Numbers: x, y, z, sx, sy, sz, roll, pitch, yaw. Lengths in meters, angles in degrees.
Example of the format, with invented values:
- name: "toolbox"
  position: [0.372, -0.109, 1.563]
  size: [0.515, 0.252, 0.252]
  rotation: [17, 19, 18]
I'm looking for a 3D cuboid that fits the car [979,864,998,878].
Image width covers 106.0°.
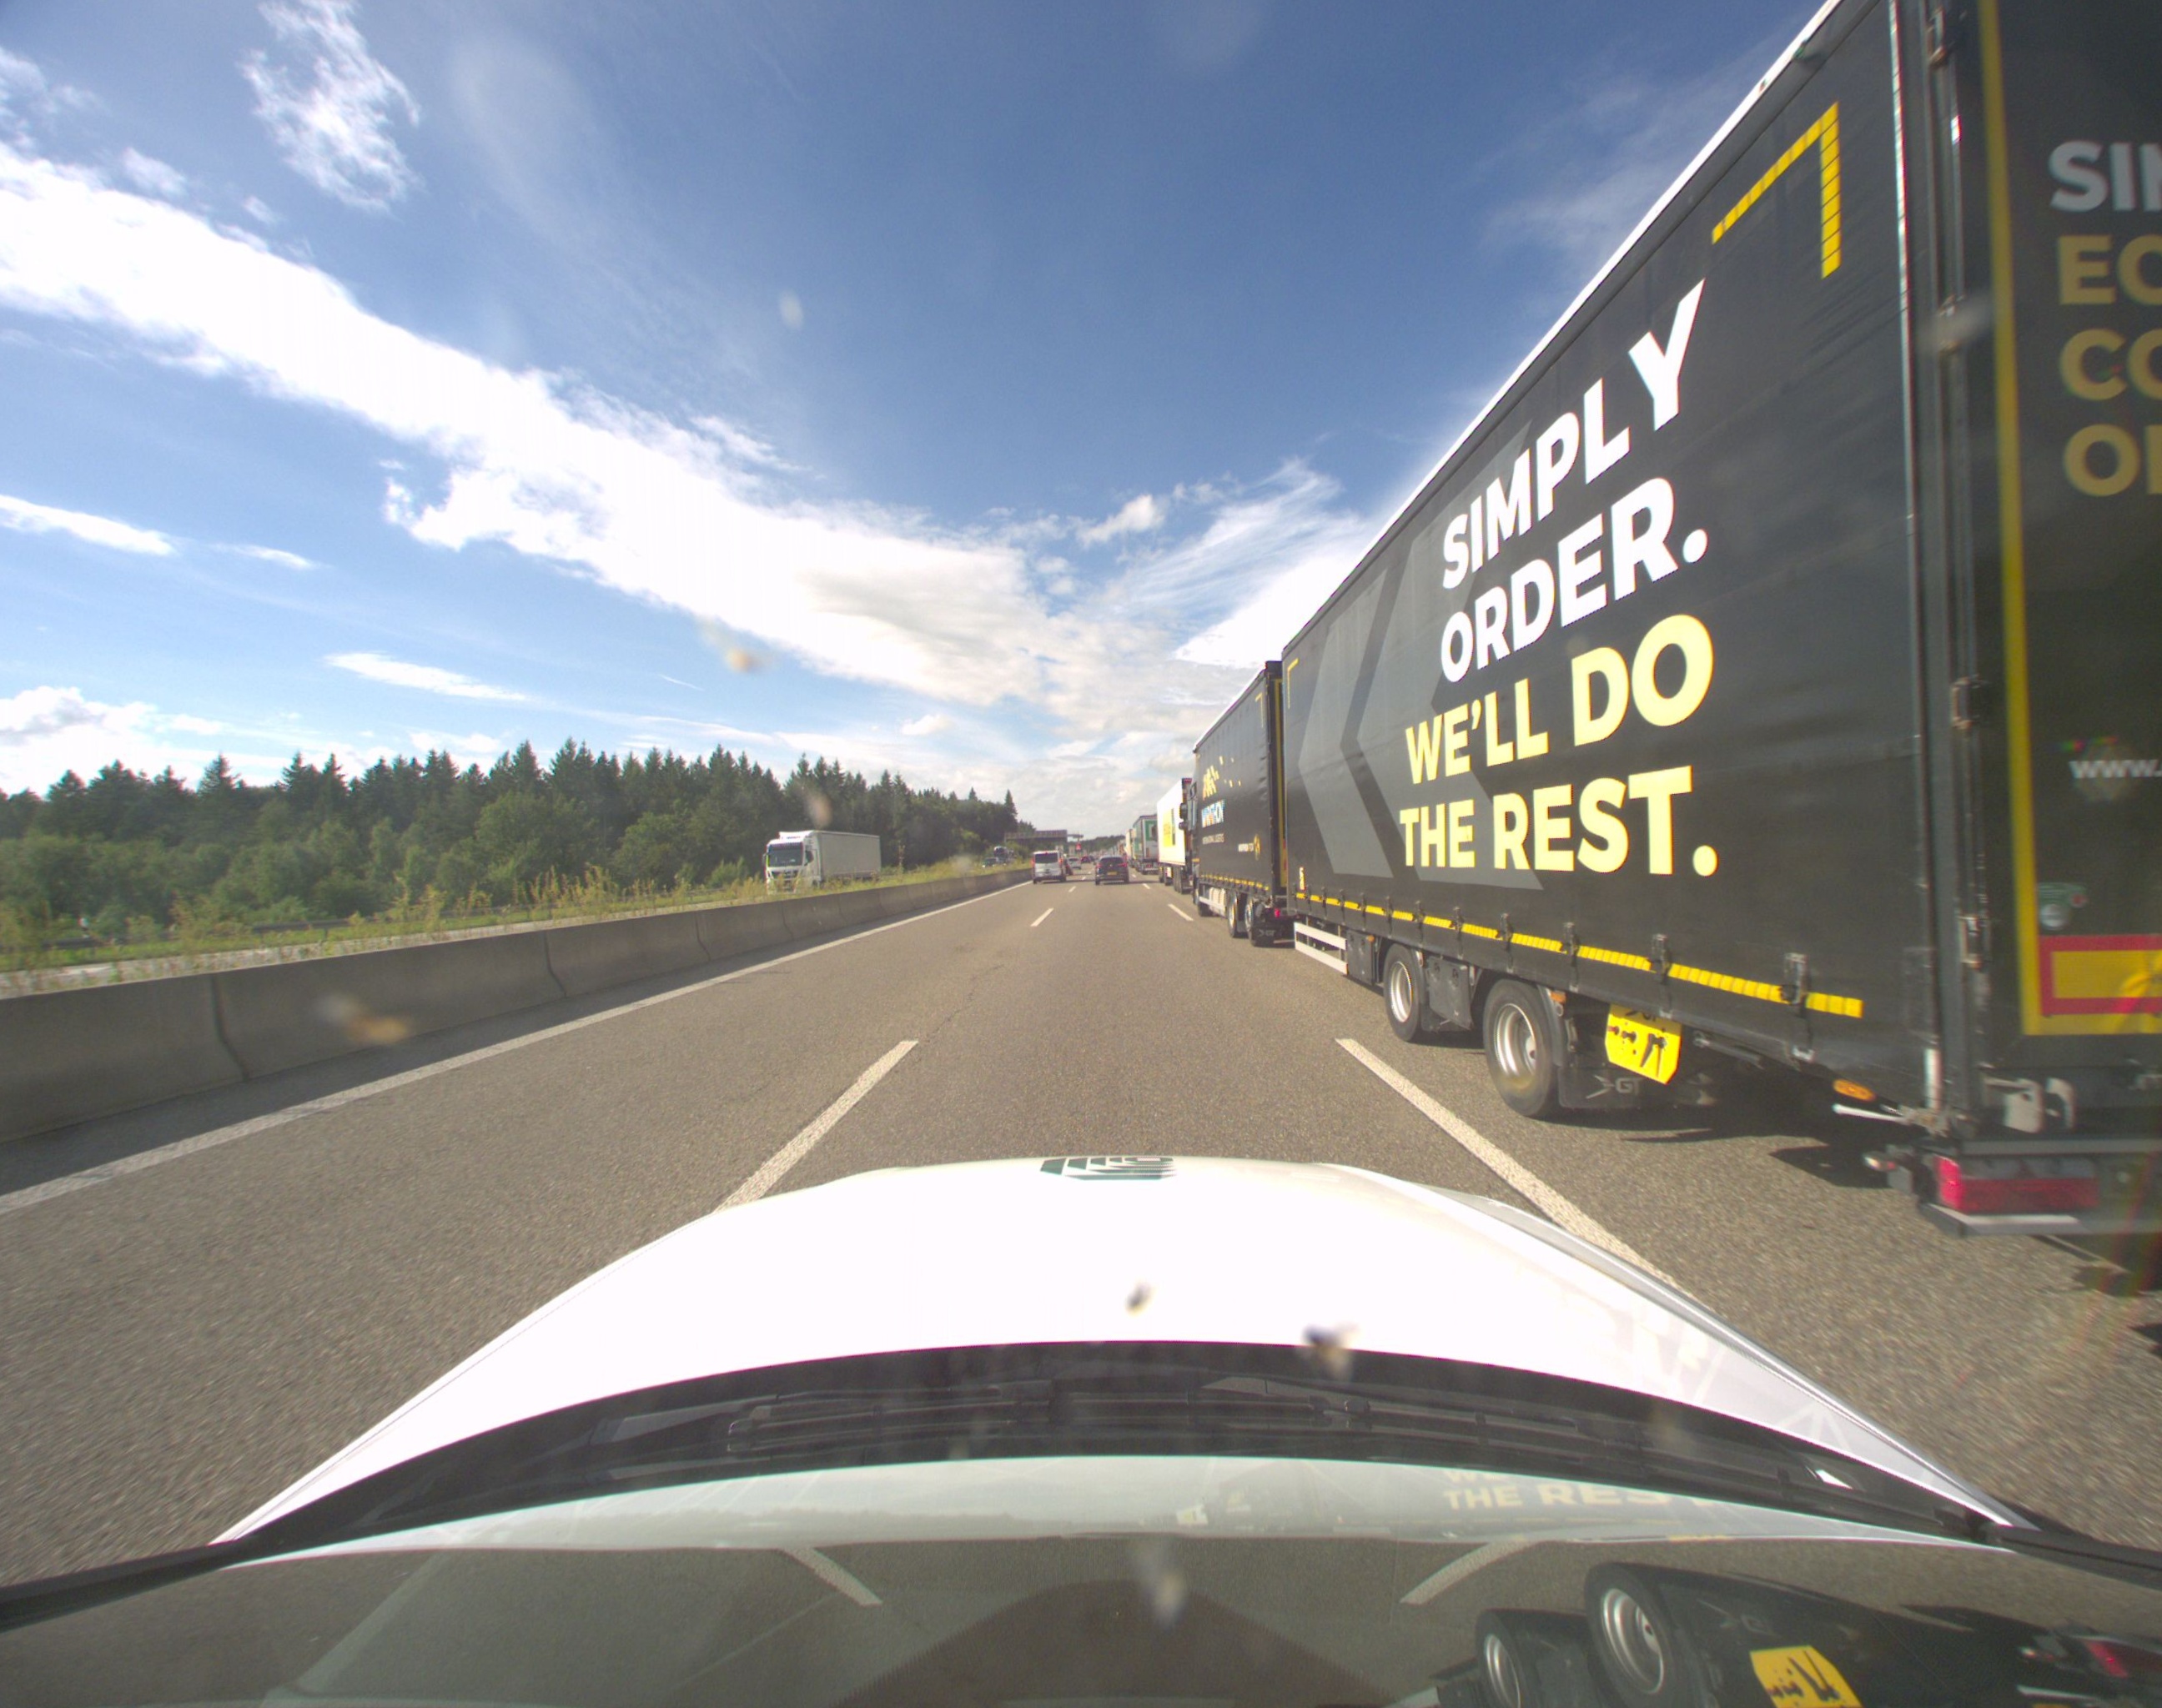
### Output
- name: "car"
  position: [-12.102, 2.210, 107.005]
  size: [1.871, 1.876, 4.492]
  rotation: [0, 0, 2]

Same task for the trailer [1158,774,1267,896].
- name: "trailer"
  position: [4.940, -0.574, 33.294]
  size: [2.780, 3.939, 13.077]
  rotation: [-2, -1, 3]

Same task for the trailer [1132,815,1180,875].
- name: "trailer"
  position: [5.372, -0.557, 60.655]
  size: [2.651, 3.869, 13.400]
  rotation: [-3, -1, 2]

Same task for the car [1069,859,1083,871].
- name: "car"
  position: [-0.515, 1.292, 94.533]
  size: [1.494, 1.396, 3.477]
  rotation: [0, 0, 2]

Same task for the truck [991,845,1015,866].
- name: "truck"
  position: [-14.412, 0.332, 150.828]
  size: [2.821, 3.689, 11.135]
  rotation: [-3, -1, 1]

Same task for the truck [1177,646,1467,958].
- name: "truck"
  position: [3.726, -0.640, 15.644]
  size: [2.731, 4.038, 10.204]
  rotation: [0, 0, 1]

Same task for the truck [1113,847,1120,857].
- name: "truck"
  position: [10.595, -0.600, 242.835]
  size: [1.985, 3.052, 4.984]
  rotation: [0, -1, 2]

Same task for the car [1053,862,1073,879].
- name: "car"
  position: [-1.508, 1.357, 68.539]
  size: [1.494, 1.396, 3.477]
  rotation: [-1, -1, 2]

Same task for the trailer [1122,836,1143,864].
- name: "trailer"
  position: [7.410, -0.510, 117.650]
  size: [2.531, 3.653, 10.632]
  rotation: [-3, -1, 2]

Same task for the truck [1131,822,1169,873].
- name: "truck"
  position: [5.632, -0.502, 67.736]
  size: [2.637, 3.869, 6.999]
  rotation: [-3, -1, 2]

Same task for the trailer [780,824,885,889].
- name: "trailer"
  position: [-17.275, 0.222, 57.959]
  size: [2.822, 3.992, 13.553]
  rotation: [-2, -1, 2]

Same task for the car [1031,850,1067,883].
- name: "car"
  position: [-1.947, 0.765, 51.364]
  size: [1.925, 1.979, 5.100]
  rotation: [0, 0, 2]

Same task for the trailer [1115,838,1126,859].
- name: "trailer"
  position: [8.272, -1.042, 171.159]
  size: [2.141, 4.259, 8.445]
  rotation: [-3, -1, 2]

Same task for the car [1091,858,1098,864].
- name: "car"
  position: [2.749, 1.453, 170.830]
  size: [1.429, 1.310, 3.534]
  rotation: [0, 0, 1]

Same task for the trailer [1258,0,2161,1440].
- name: "trailer"
  position: [3.556, -0.665, 6.203]
  size: [2.706, 3.961, 8.713]
  rotation: [0, 0, 1]

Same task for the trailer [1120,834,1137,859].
- name: "trailer"
  position: [8.519, -1.253, 147.912]
  size: [2.791, 4.244, 11.063]
  rotation: [-3, -1, 3]

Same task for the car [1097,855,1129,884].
- name: "car"
  position: [1.716, 0.824, 43.959]
  size: [1.690, 1.483, 4.161]
  rotation: [0, 0, 2]

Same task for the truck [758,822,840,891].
- name: "truck"
  position: [-17.490, 0.159, 50.980]
  size: [2.809, 3.976, 5.835]
  rotation: [-2, -1, 2]

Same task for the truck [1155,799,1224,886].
- name: "truck"
  position: [5.279, -0.518, 40.495]
  size: [2.791, 3.939, 5.829]
  rotation: [-2, -1, 2]

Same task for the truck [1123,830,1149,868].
- name: "truck"
  position: [6.347, -0.518, 94.728]
  size: [2.698, 4.059, 6.364]
  rotation: [-3, -1, 2]

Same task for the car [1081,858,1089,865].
- name: "car"
  position: [0.775, 1.327, 148.569]
  size: [1.429, 1.310, 3.534]
  rotation: [0, 0, 1]

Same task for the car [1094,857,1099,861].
- name: "car"
  position: [4.466, 1.428, 232.148]
  size: [1.356, 1.301, 3.086]
  rotation: [0, 0, 2]

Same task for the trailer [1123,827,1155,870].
- name: "trailer"
  position: [6.100, -0.546, 87.699]
  size: [2.692, 4.081, 12.950]
  rotation: [-4, 0, 2]

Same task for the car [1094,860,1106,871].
- name: "car"
  position: [2.465, 1.558, 107.659]
  size: [1.575, 1.396, 3.208]
  rotation: [0, -1, 1]
